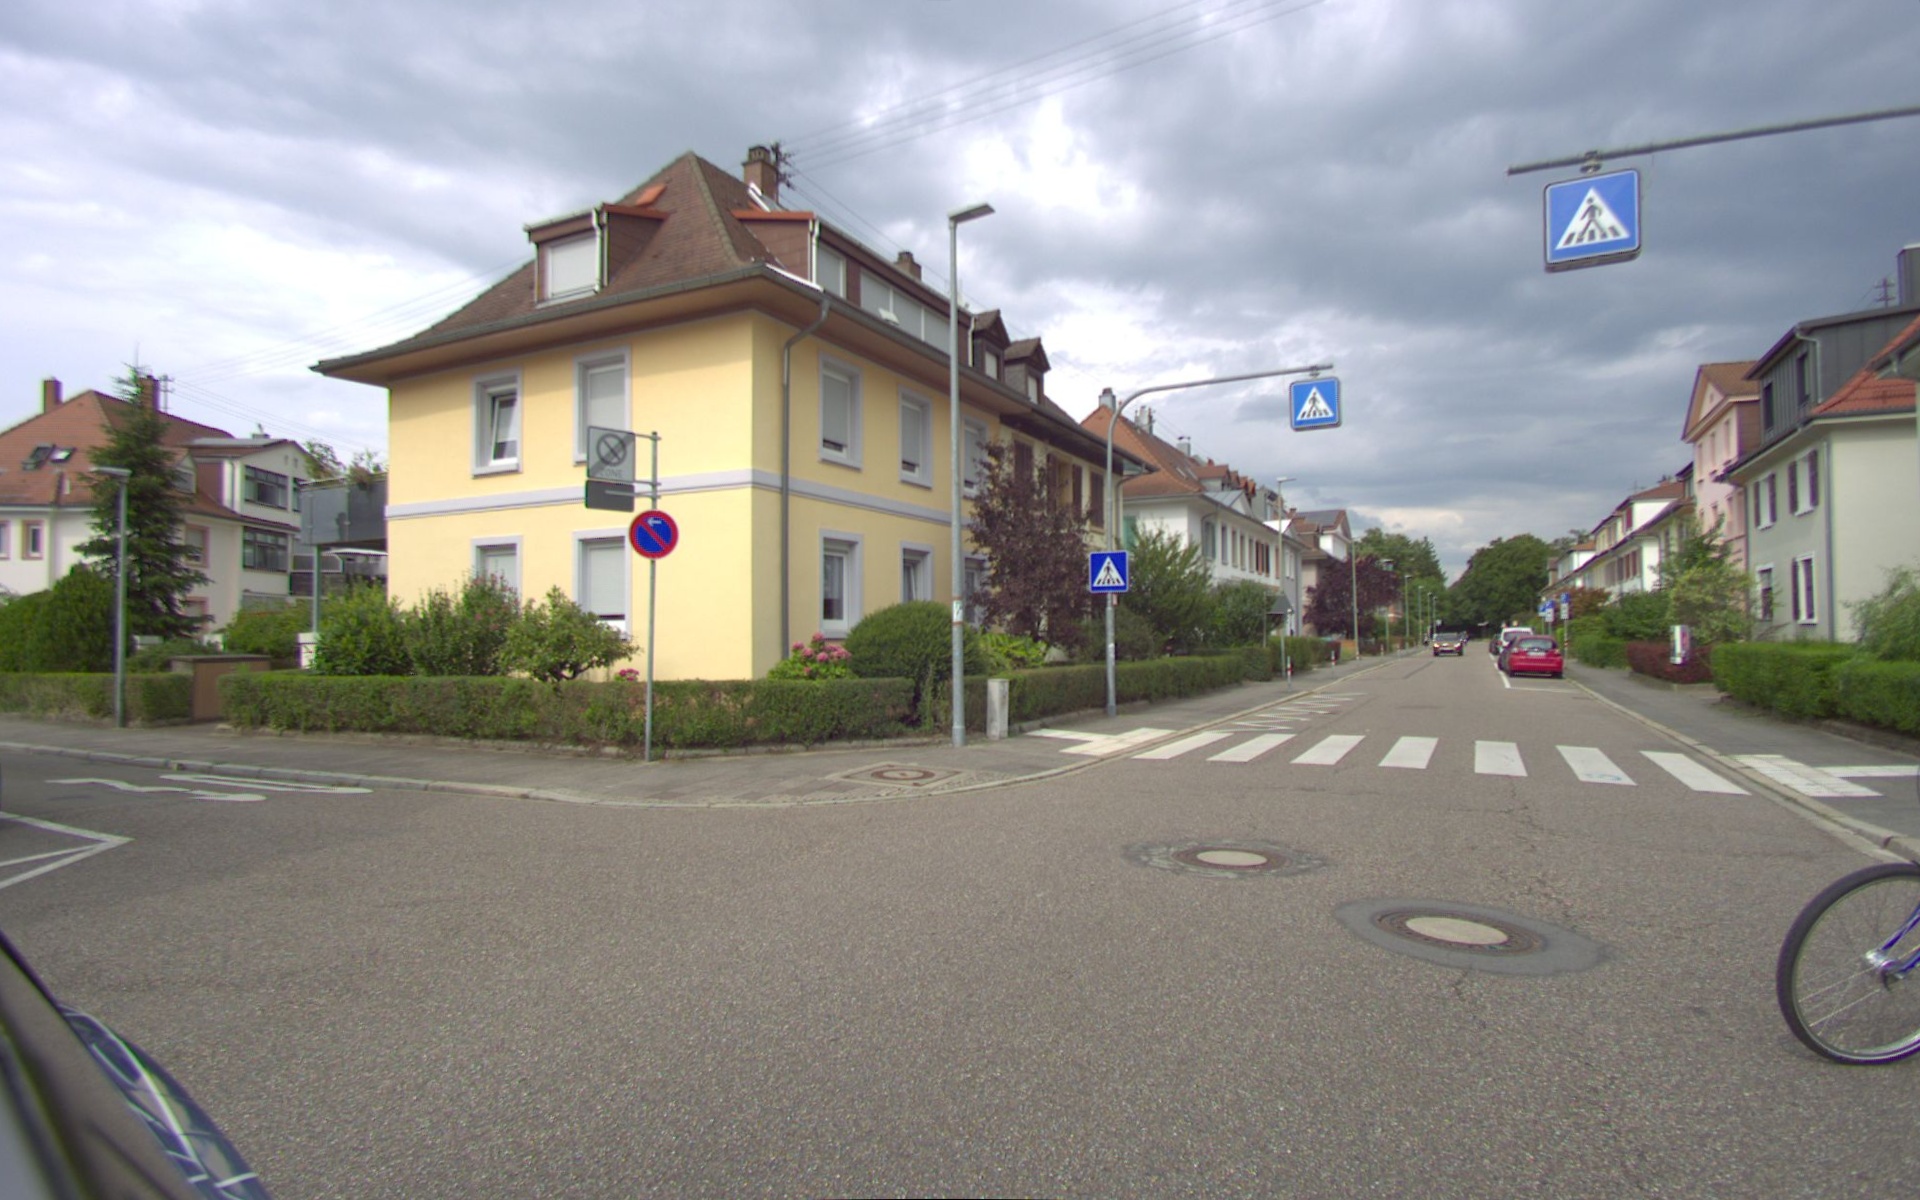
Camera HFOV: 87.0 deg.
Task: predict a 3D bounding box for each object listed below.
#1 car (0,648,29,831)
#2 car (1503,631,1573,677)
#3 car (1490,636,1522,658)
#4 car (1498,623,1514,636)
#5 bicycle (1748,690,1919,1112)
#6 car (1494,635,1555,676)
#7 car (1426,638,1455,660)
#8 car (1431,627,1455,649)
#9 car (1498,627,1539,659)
[{"bbox_3d":[-9.388,1.167,8.176,3.464,1.432,1.636,-2,1,27],"label":"car"},{"bbox_3d":[20.871,1.925,36.690,1.990,1.586,3.963,-2,-3,27],"label":"car"},{"bbox_3d":[40.679,3.493,75.479,1.990,1.586,3.963,-2,-3,27],"label":"car"},{"bbox_3d":[83.488,4.494,154.756,1.991,2.029,3.962,0,-2,28],"label":"car"},{"bbox_3d":[3.657,0.874,3.038,1.856,1.161,0.704,-2,-1,16],"label":"bicycle"},{"bbox_3d":[23.025,2.250,41.402,1.990,1.586,3.963,-2,-3,27],"label":"car"},{"bbox_3d":[34.505,3.465,72.667,1.827,1.497,3.964,0,-2,26],"label":"car"},{"bbox_3d":[47.304,3.721,99.152,1.990,2.029,3.963,-1,-2,27],"label":"car"},{"bbox_3d":[33.824,2.604,61.414,1.990,1.918,3.963,-2,-3,27],"label":"car"}]
